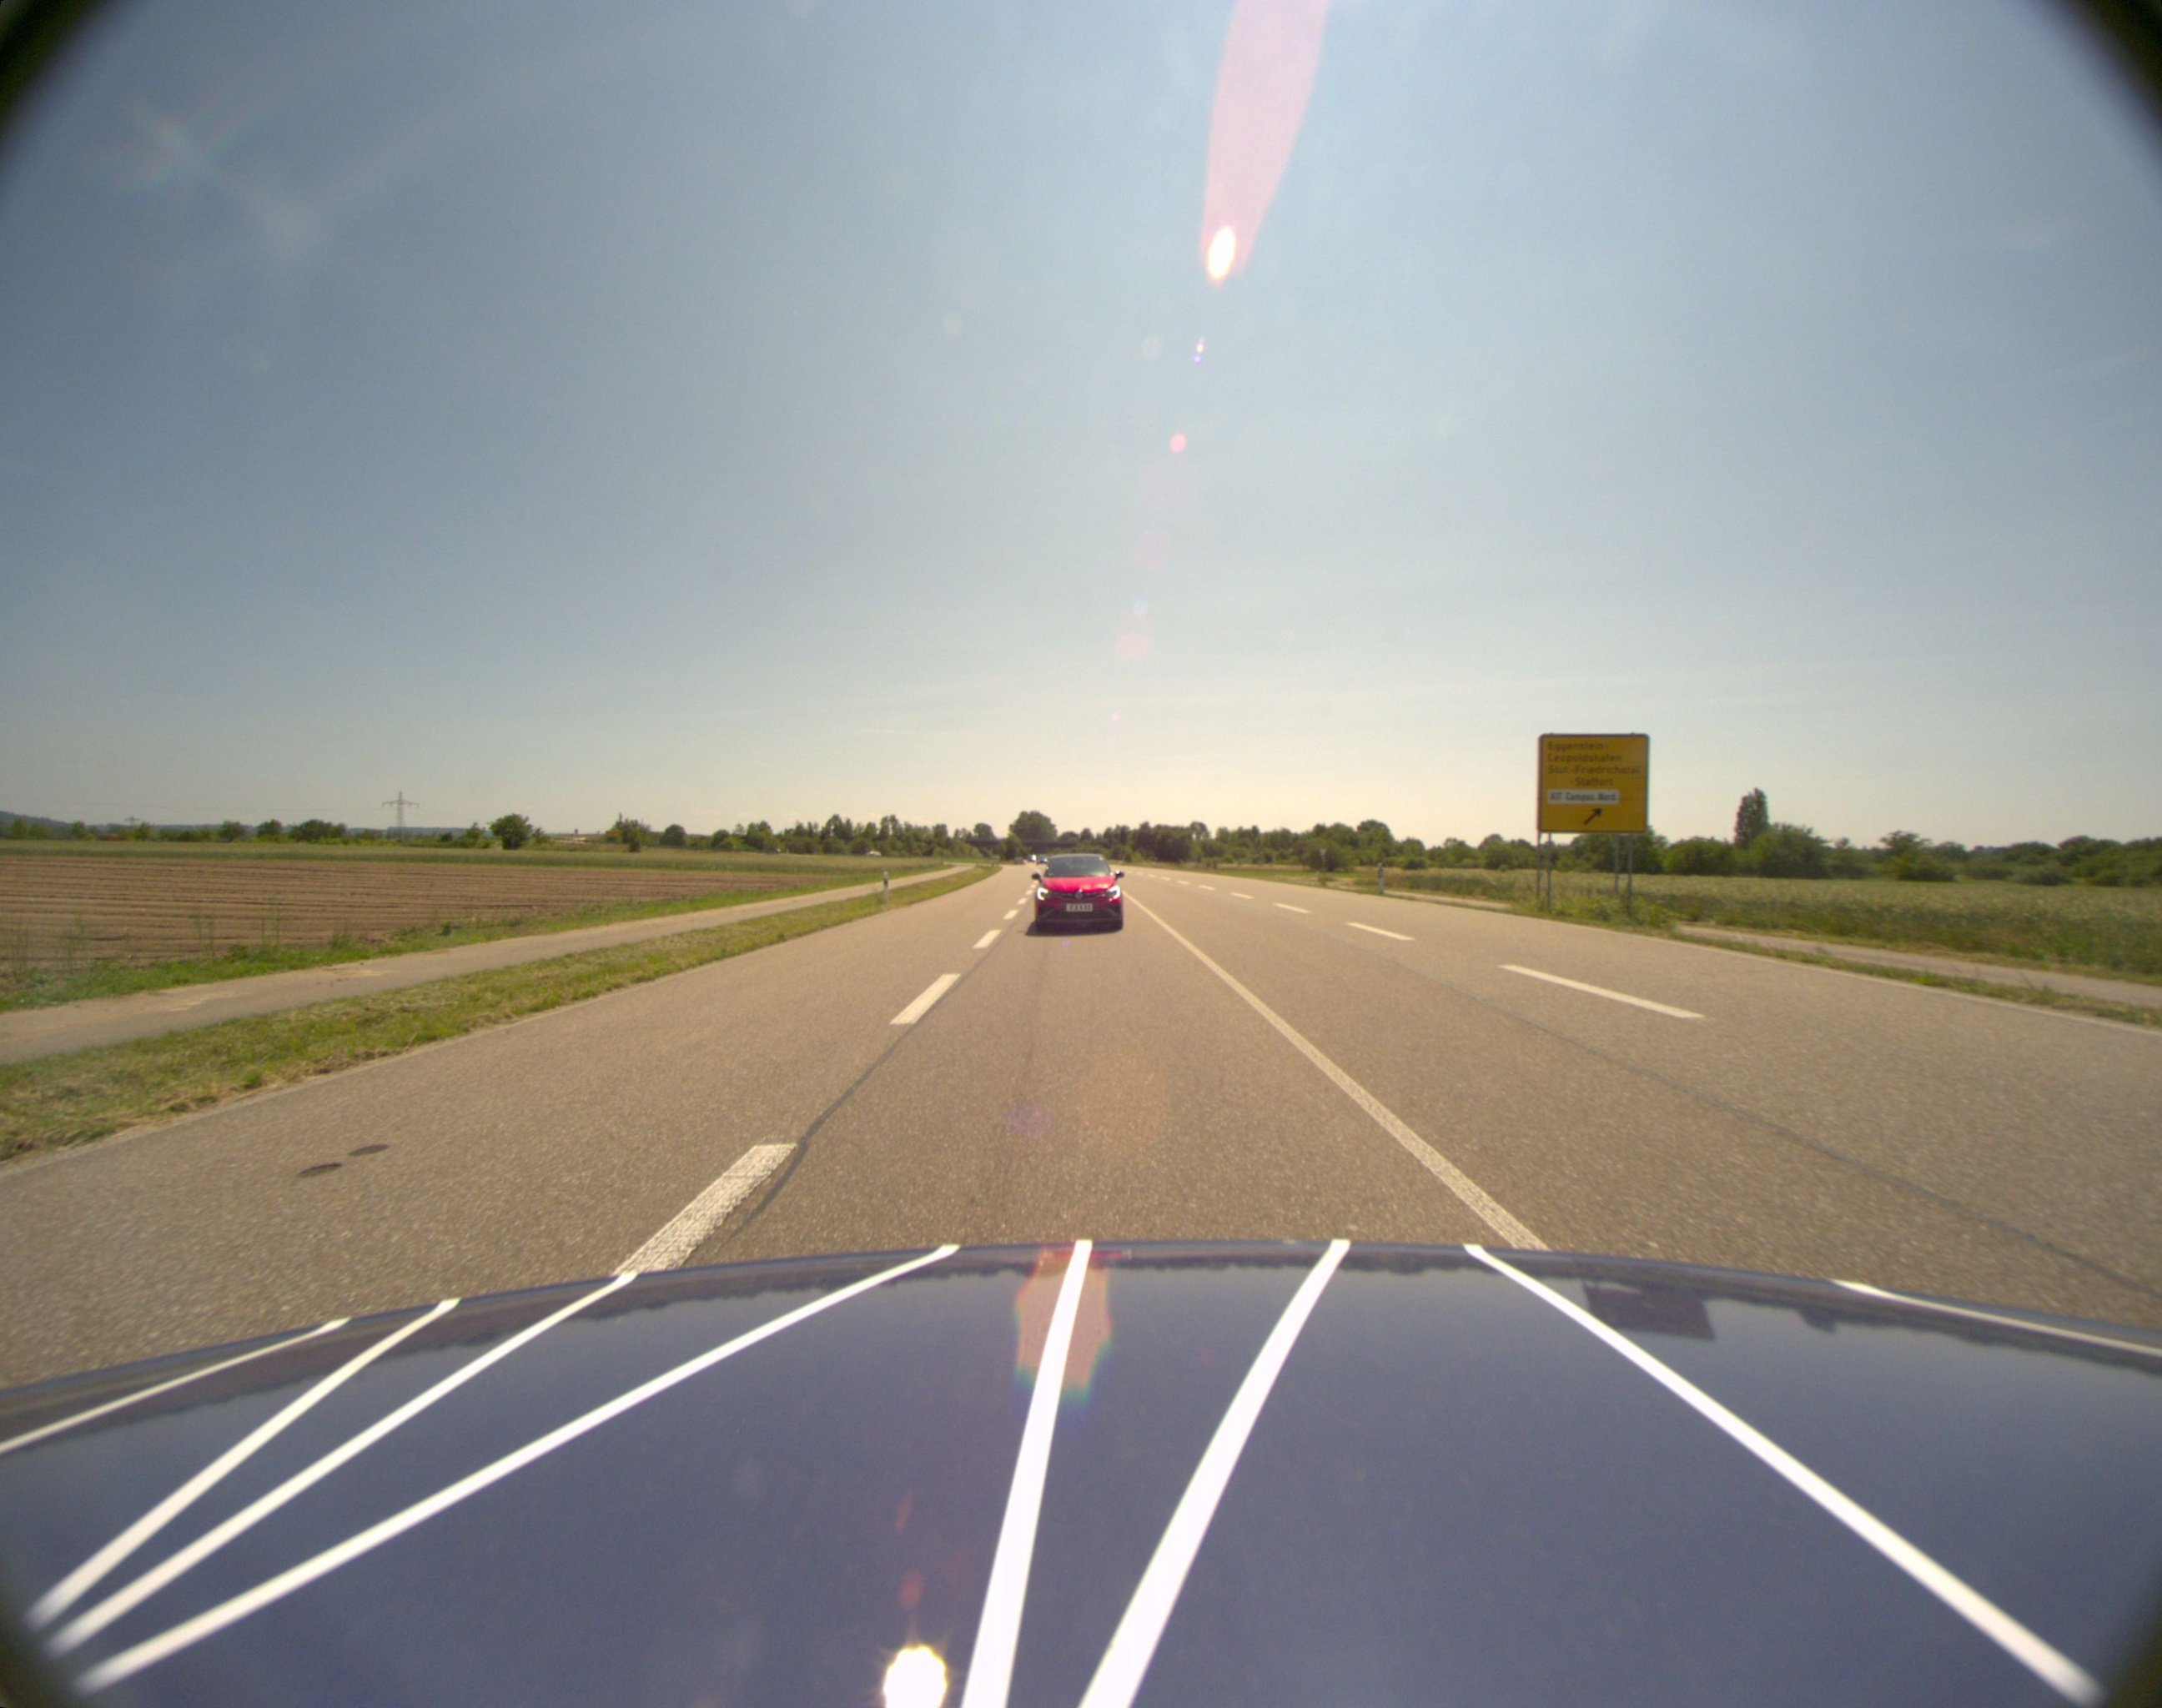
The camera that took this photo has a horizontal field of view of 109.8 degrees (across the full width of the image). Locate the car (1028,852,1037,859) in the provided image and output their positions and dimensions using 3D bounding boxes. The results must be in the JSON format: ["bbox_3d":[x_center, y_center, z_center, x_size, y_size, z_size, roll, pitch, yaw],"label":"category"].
[{"bbox_3d":[-10.972,0.253,172.938,1.984,1.587,5.399,-1,0,-4],"label":"car"}]

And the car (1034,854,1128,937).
[{"bbox_3d":[0.030,0.808,17.201,1.837,1.587,4.722,0,0,1],"label":"car"}]

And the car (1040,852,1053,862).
[{"bbox_3d":[-5.695,0.433,124.209,1.984,1.587,5.399,-1,0,-5],"label":"car"}]

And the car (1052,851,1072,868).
[{"bbox_3d":[-1.936,0.549,75.971,1.983,1.587,5.400,0,0,-2],"label":"car"}]
